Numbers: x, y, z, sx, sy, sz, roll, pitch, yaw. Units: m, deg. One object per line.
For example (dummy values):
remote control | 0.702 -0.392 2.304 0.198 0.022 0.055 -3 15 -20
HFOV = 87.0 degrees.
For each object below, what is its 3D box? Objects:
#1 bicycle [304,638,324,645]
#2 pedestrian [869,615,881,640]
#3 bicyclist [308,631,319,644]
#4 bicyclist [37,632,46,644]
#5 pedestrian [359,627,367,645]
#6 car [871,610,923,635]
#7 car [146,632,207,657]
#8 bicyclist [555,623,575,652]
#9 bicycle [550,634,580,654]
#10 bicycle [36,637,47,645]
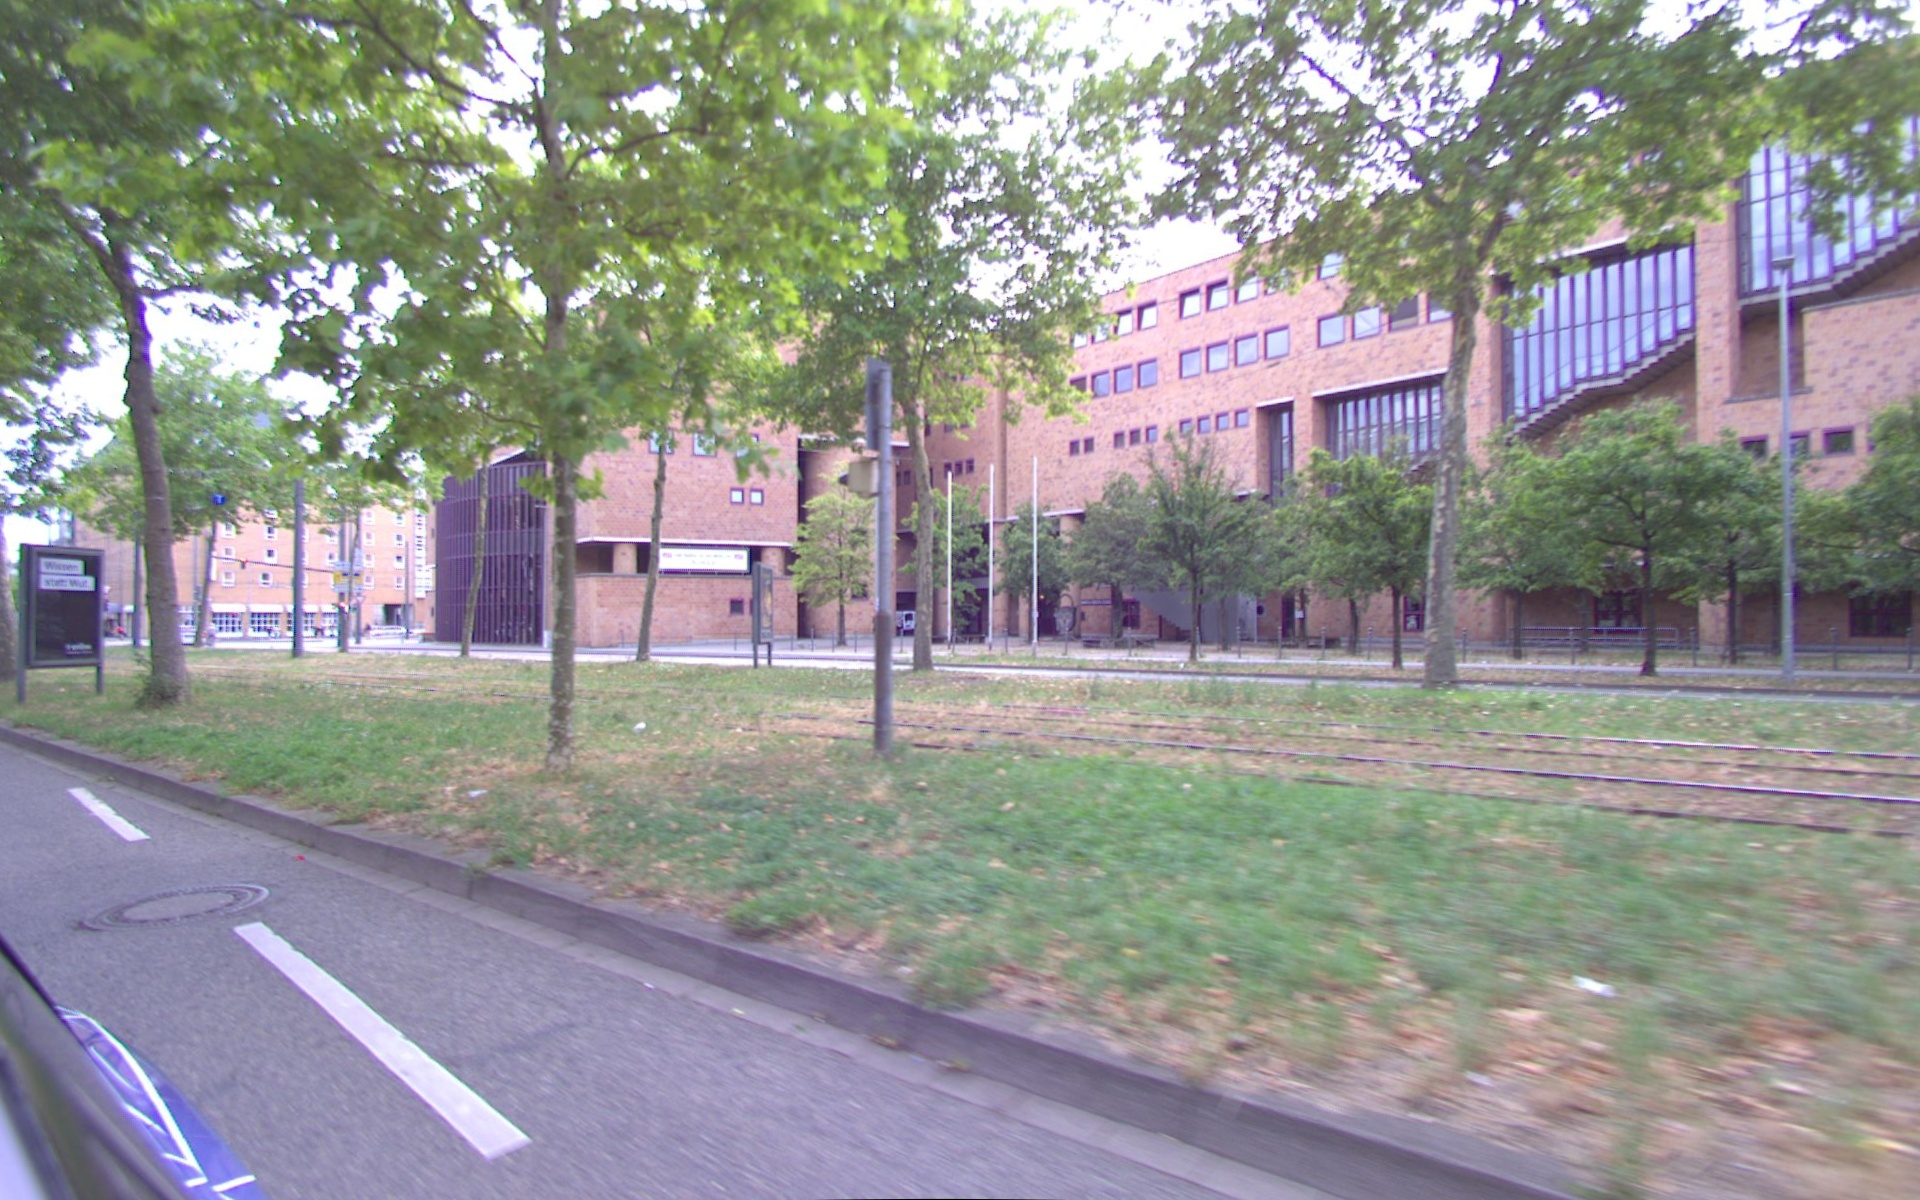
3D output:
bicycle | -74.779 4.822 117.140 0.638 0.787 1.775 -1 -2 35
pedestrian | -5.249 1.724 62.688 0.500 1.543 0.521 0 -2 -37
bicyclist | -74.793 4.317 117.122 0.635 1.513 0.855 -1 -2 36
bicyclist | -118.274 4.871 130.330 0.815 1.513 0.644 -1 -2 34
pedestrian | -59.021 3.576 99.991 0.542 1.745 0.534 -2 -2 36
car | -4.745 1.679 75.831 1.869 1.821 4.006 0 -2 -40
car | -47.569 2.692 61.436 4.650 1.432 1.767 -2 -2 37
bicyclist | -21.779 2.066 55.777 0.984 1.603 0.657 -2 -2 41
bicycle | -21.765 2.416 55.753 2.092 1.092 0.661 -2 -2 41
bicycle | -118.237 5.264 130.300 1.888 0.943 0.651 -1 -2 34
